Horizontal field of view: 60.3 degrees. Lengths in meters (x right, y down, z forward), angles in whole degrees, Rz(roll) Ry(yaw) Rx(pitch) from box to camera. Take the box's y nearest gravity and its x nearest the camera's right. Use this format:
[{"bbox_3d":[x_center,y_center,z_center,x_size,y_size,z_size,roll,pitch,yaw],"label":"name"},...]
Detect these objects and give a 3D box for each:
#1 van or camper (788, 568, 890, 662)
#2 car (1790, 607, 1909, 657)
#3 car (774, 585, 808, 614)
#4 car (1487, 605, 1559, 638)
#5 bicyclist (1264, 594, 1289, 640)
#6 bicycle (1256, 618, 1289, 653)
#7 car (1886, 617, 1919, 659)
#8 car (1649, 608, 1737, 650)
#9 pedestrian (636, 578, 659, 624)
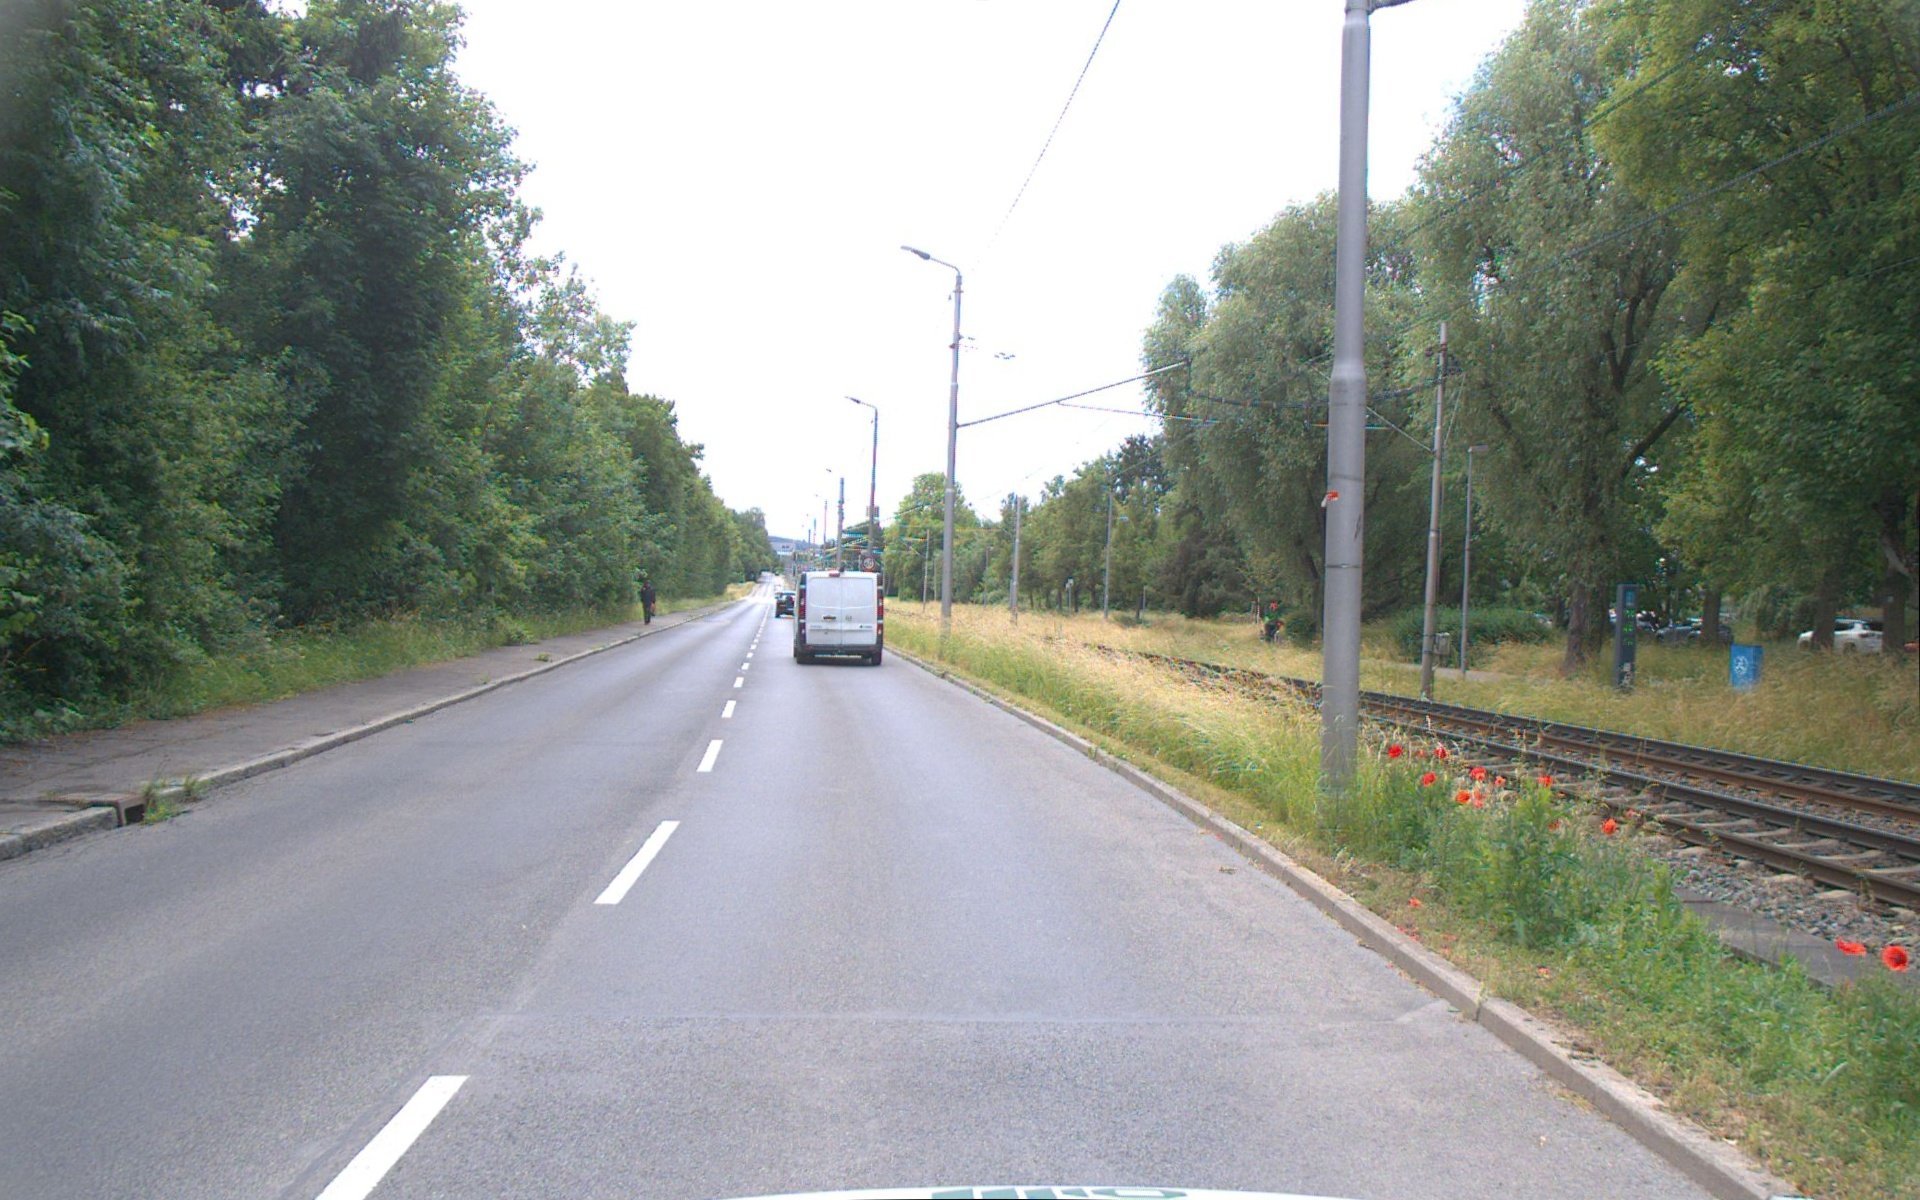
[{"bbox_3d":[-2.728,0.317,36.397,1.906,1.930,4.276,1,0,-9],"label":"van or camper"},{"bbox_3d":[34.399,1.219,64.093,1.955,1.729,4.224,3,0,-6],"label":"car"},{"bbox_3d":[-10.324,-0.031,100.880,1.955,1.621,3.994,3,0,-6],"label":"car"},{"bbox_3d":[35.628,1.350,104.758,1.974,1.844,3.958,2,0,-31],"label":"car"},{"bbox_3d":[11.989,0.641,62.713,0.570,1.726,0.933,2,0,-10],"label":"bicyclist"},{"bbox_3d":[11.843,1.338,62.709,0.570,1.268,1.925,2,0,-10],"label":"bicycle"},{"bbox_3d":[34.963,1.388,58.454,1.955,1.468,3.995,2,0,-6],"label":"car"},{"bbox_3d":[33.194,1.283,75.028,1.954,1.729,3.997,3,0,-4],"label":"car"},{"bbox_3d":[-12.376,0.045,65.468,0.852,1.800,0.787,0,1,-10],"label":"pedestrian"}]
